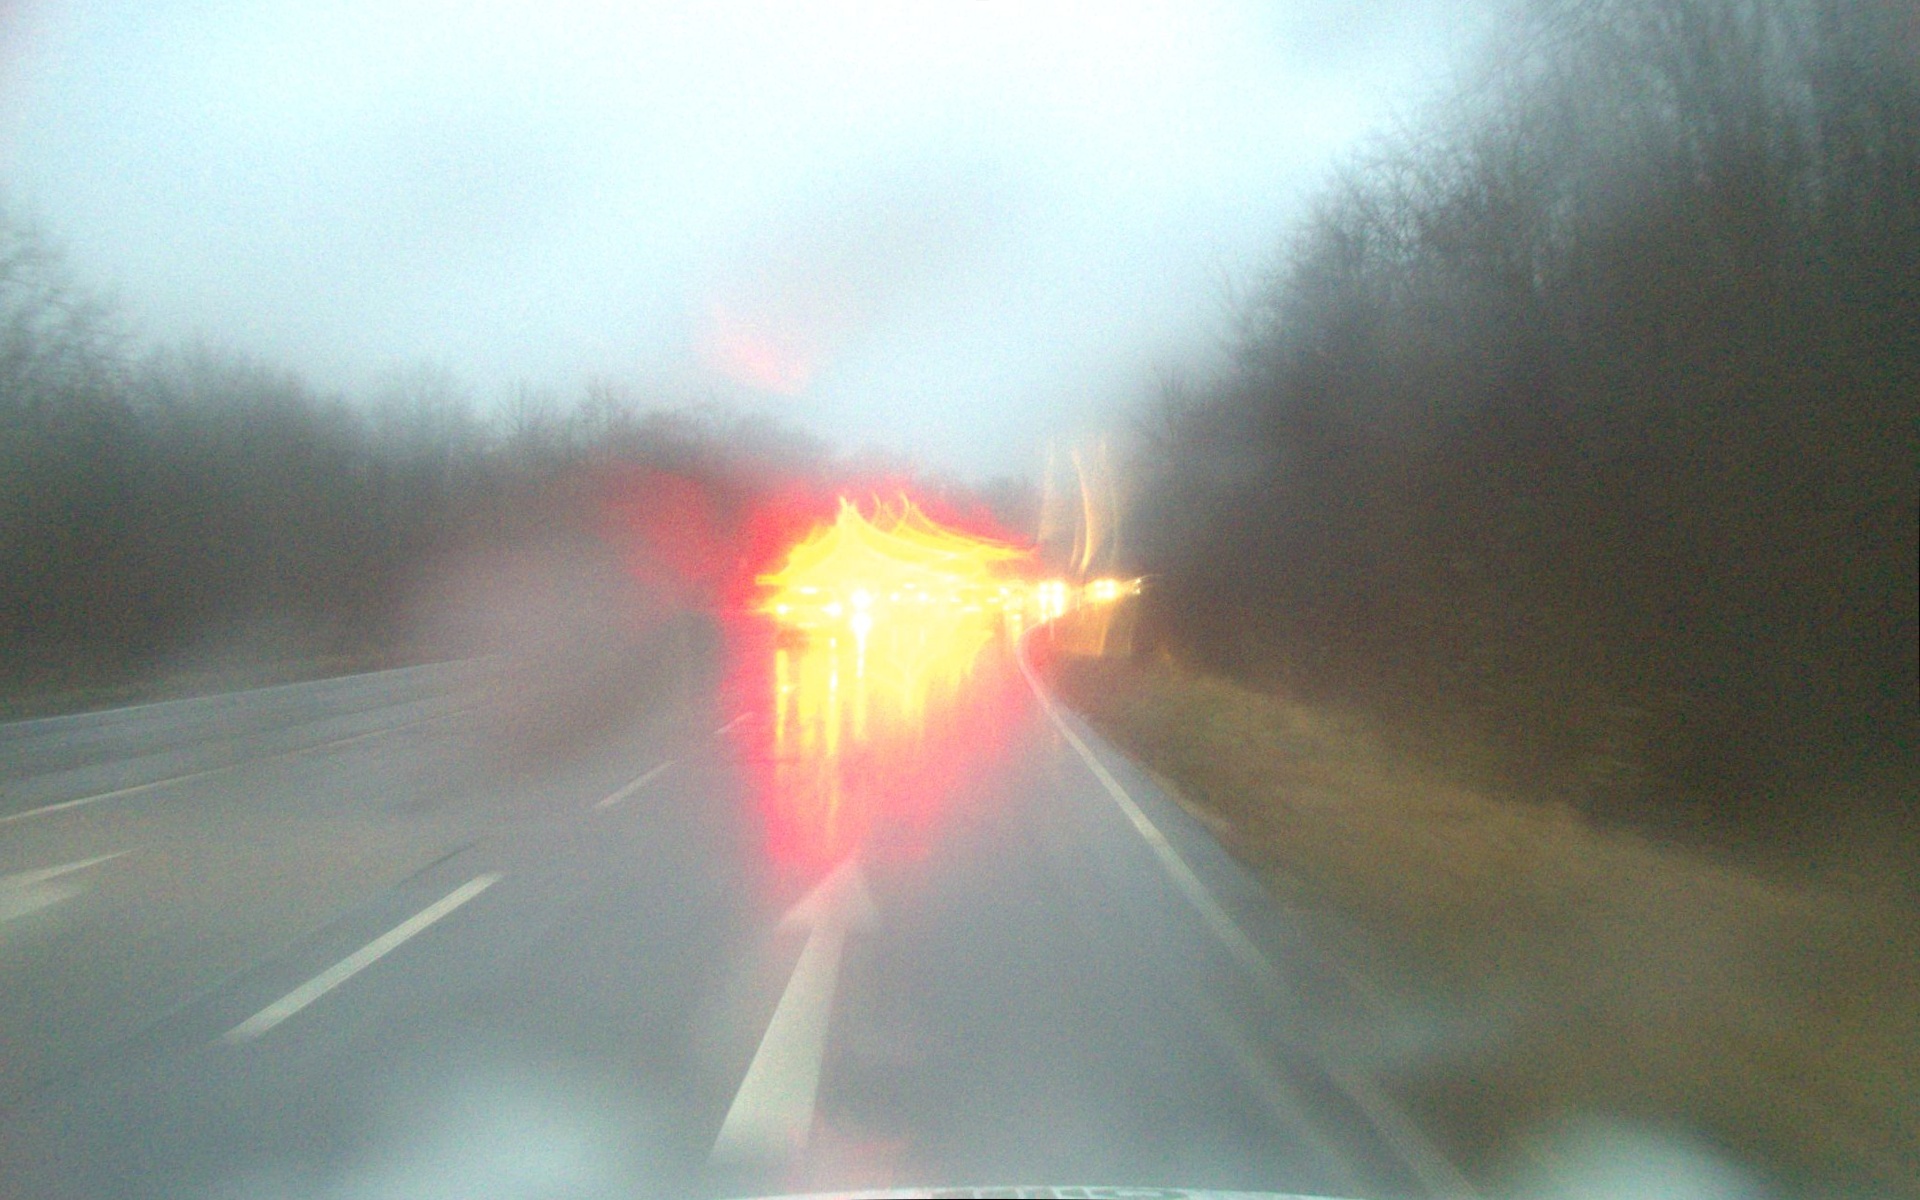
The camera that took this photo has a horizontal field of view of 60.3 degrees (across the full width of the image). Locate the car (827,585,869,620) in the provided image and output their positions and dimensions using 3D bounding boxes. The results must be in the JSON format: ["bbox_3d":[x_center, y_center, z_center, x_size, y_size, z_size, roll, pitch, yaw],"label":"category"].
[{"bbox_3d":[-5.263,0.118,78.162,1.611,1.583,4.382,0,0,1],"label":"car"}]

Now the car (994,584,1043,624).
[{"bbox_3d":[2.649,0.174,74.070,1.643,1.704,4.102,0,1,9],"label":"car"}]

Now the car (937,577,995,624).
[{"bbox_3d":[0.213,-0.015,51.437,1.644,1.414,4.100,0,1,2],"label":"car"}]

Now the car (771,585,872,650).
[{"bbox_3d":[-3.616,0.432,44.046,1.963,1.583,4.519,1,0,4],"label":"car"}]

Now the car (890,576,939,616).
[{"bbox_3d":[-1.945,-0.196,71.731,1.677,1.655,4.220,1,1,4],"label":"car"}]
